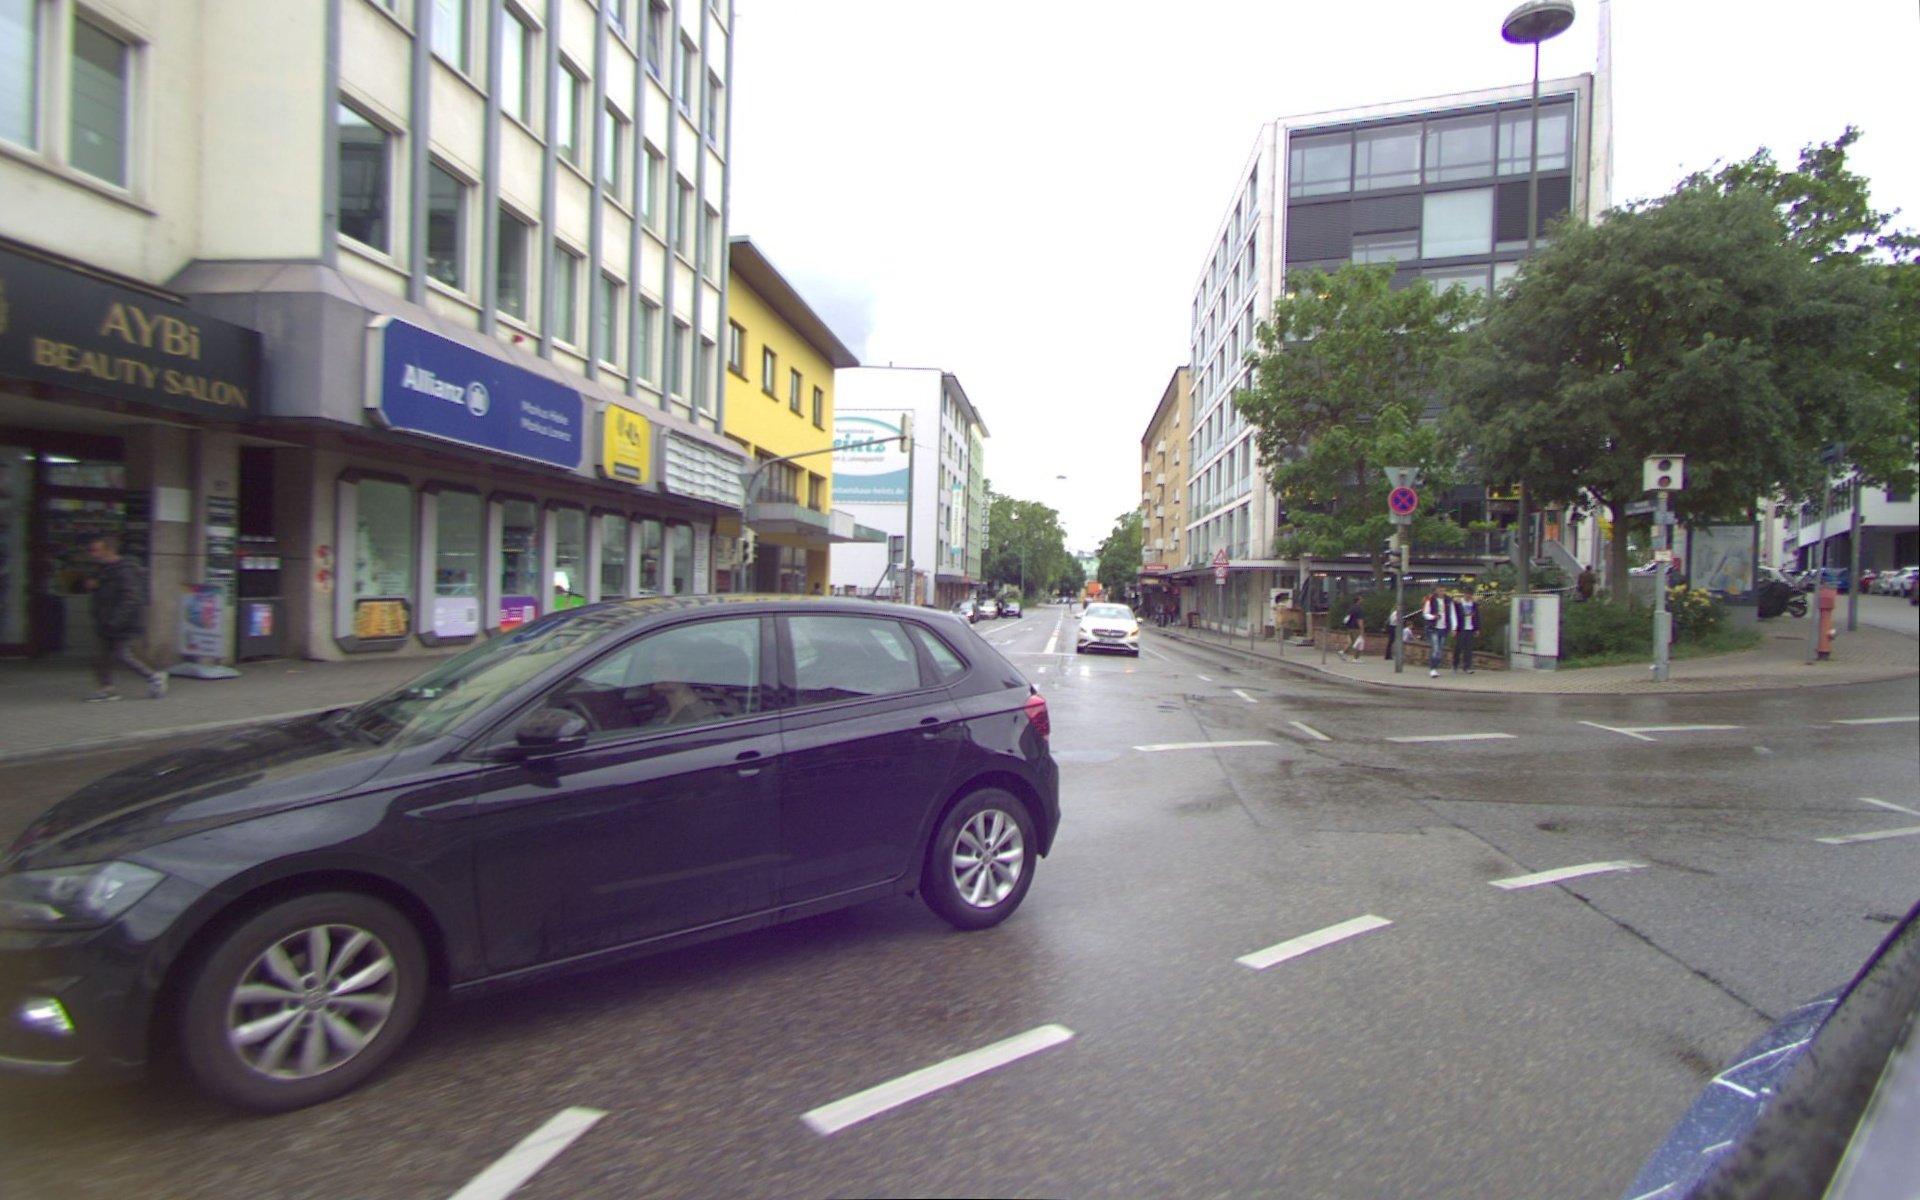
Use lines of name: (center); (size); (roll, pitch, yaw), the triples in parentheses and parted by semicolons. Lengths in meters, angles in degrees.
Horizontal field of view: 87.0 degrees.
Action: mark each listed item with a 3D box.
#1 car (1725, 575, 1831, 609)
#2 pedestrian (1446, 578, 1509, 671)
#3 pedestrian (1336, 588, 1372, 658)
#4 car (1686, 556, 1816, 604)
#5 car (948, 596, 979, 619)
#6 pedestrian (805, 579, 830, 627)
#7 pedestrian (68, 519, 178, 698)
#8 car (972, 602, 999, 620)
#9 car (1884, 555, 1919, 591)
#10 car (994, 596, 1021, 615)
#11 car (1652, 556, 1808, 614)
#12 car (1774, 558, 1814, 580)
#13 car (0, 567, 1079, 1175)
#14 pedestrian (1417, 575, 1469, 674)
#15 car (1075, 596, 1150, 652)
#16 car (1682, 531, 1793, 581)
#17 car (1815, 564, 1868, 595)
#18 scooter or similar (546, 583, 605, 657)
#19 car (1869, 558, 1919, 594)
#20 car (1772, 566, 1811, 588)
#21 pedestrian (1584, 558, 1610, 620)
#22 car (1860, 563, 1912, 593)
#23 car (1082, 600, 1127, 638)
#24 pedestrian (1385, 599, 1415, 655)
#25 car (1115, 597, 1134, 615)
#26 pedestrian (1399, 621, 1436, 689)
car: (30.700, -0.305, 38.074); (3.032, 1.197, 2.023); (-1, 2, 39)
pedestrian: (10.389, 0.488, 20.346); (0.771, 1.772, 0.786); (-5, -2, 10)
pedestrian: (10.538, 0.608, 27.092); (0.776, 1.837, 0.591); (-1, -1, 11)
car: (27.865, -0.693, 35.811); (3.524, 1.578, 1.718); (-1, 1, 36)
car: (0.247, 0.503, 67.755); (1.754, 1.472, 3.994); (-1, 0, 5)
pedestrian: (-5.068, 0.095, 35.994); (0.725, 1.666, 0.640); (-1, 0, 9)
pedestrian: (-8.604, 0.084, 10.405); (0.750, 1.744, 0.743); (-1, 0, 39)
car: (2.146, 0.938, 87.298); (1.960, 1.472, 4.003); (-1, 0, -4)
car: (52.493, -1.476, 55.430); (2.012, 1.926, 4.377); (-1, 0, 32)
car: (4.407, 0.466, 94.161); (1.960, 1.639, 4.129); (0, 2, -5)
car: (22.546, -0.429, 29.718); (3.528, 1.578, 1.716); (-1, 1, 39)
car: (69.775, -2.569, 84.757); (2.012, 1.669, 4.377); (-1, 0, 32)
car: (-1.480, 0.644, 4.169); (3.809, 1.449, 1.742); (0, 0, -38)
pedestrian: (9.656, 0.495, 20.267); (0.583, 1.898, 0.786); (-5, -2, 10)
car: (4.350, 0.645, 29.394); (1.941, 1.405, 3.993); (3, 1, 6)
car: (38.219, -2.147, 49.817); (1.944, 2.293, 3.843); (-2, 1, -24)
car: (55.385, -1.263, 63.645); (2.013, 1.864, 3.996); (-1, 0, 34)
scooter or similar: (-7.394, 0.369, 19.478); (0.373, 1.377, 1.140); (0, 1, 22)
car: (55.262, -1.371, 59.460); (2.012, 2.019, 4.377); (-1, 0, 32)
car: (73.302, -2.018, 89.269); (2.012, 1.859, 4.377); (-1, 0, 32)
pedestrian: (19.147, -0.324, 30.434); (0.589, 1.837, 0.695); (-2, -2, 36)
car: (57.462, -1.342, 62.869); (1.736, 1.818, 3.625); (-1, 0, 32)
car: (6.183, 0.791, 43.722); (1.779, 1.517, 3.993); (-1, 0, 6)
pedestrian: (12.379, 0.760, 28.469); (0.626, 1.552, 0.591); (-1, -1, 11)
car: (15.680, 0.543, 96.582); (1.798, 1.594, 3.990); (-1, 0, 9)
pedestrian: (12.529, 1.490, 27.735); (0.776, 1.837, 0.591); (-1, -1, 11)
